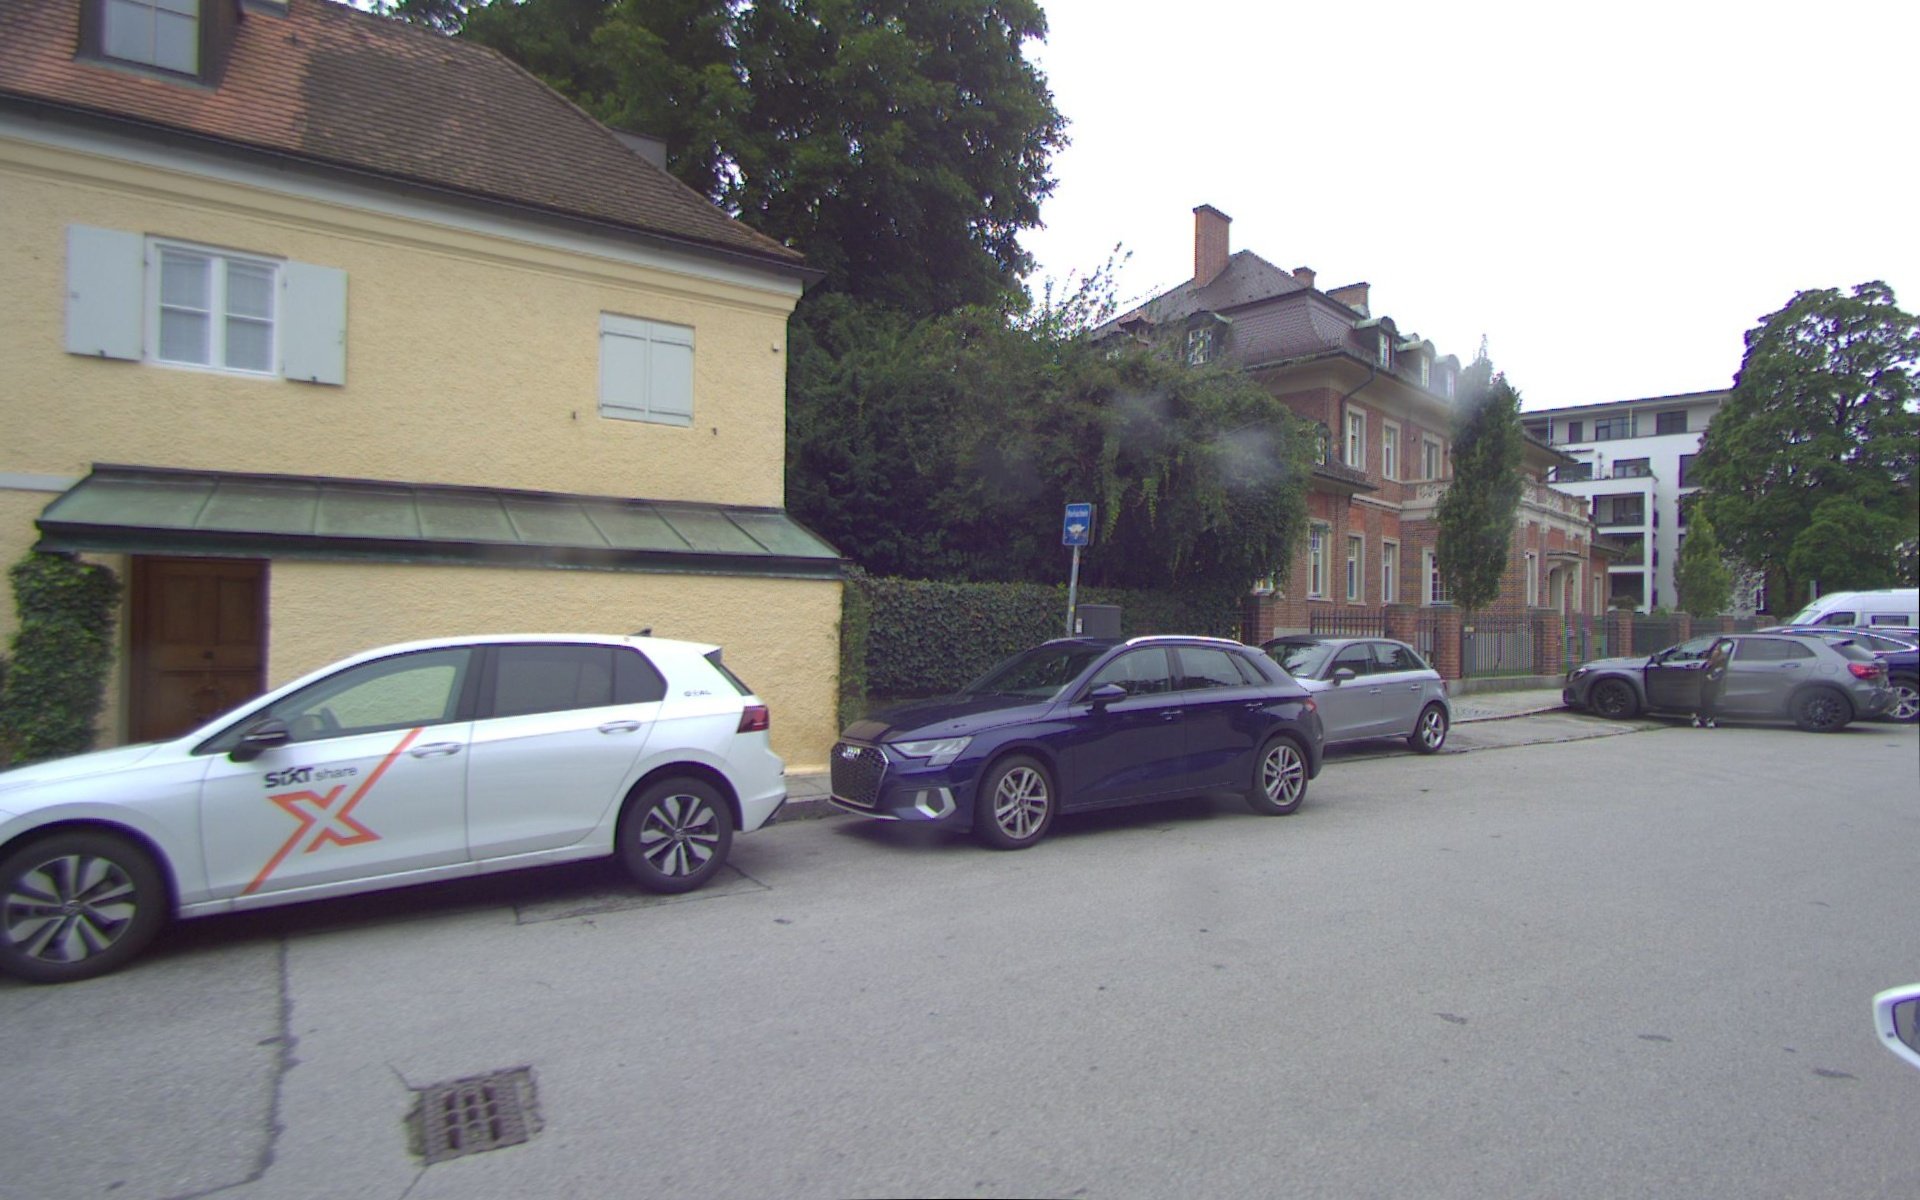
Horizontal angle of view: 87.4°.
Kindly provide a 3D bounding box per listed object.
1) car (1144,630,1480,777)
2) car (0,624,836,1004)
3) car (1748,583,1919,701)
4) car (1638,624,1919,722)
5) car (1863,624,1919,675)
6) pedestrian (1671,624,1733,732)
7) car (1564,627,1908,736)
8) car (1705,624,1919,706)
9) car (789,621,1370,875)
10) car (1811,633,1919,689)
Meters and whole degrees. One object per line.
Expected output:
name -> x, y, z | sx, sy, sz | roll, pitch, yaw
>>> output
car -> 4.428, 1.185, 12.503 | 4.102, 1.555, 1.732 | 1, -4, -32
car -> -3.122, 0.952, 5.682 | 4.467, 1.555, 1.837 | 1, -4, -30
car -> 21.359, 0.949, 23.187 | 4.551, 2.597, 2.232 | -1, -2, 27
car -> 15.048, 1.280, 18.077 | 4.443, 1.614, 1.963 | -2, -3, 27
car -> 33.555, 1.642, 33.658 | 4.438, 1.686, 1.988 | -1, -3, 20
pedestrian -> 11.797, 1.218, 15.973 | 0.707, 1.669, 0.586 | 1, -3, -36
car -> 12.709, 1.250, 16.663 | 1.920, 1.550, 4.290 | 3, -3, -43
car -> 18.897, 1.386, 21.476 | 4.443, 1.646, 1.965 | -2, -4, 27
car -> 1.071, 0.995, 8.140 | 4.510, 1.555, 1.836 | 1, -4, -32
car -> 26.044, 1.619, 26.969 | 4.440, 1.470, 1.977 | -1, -2, 23
